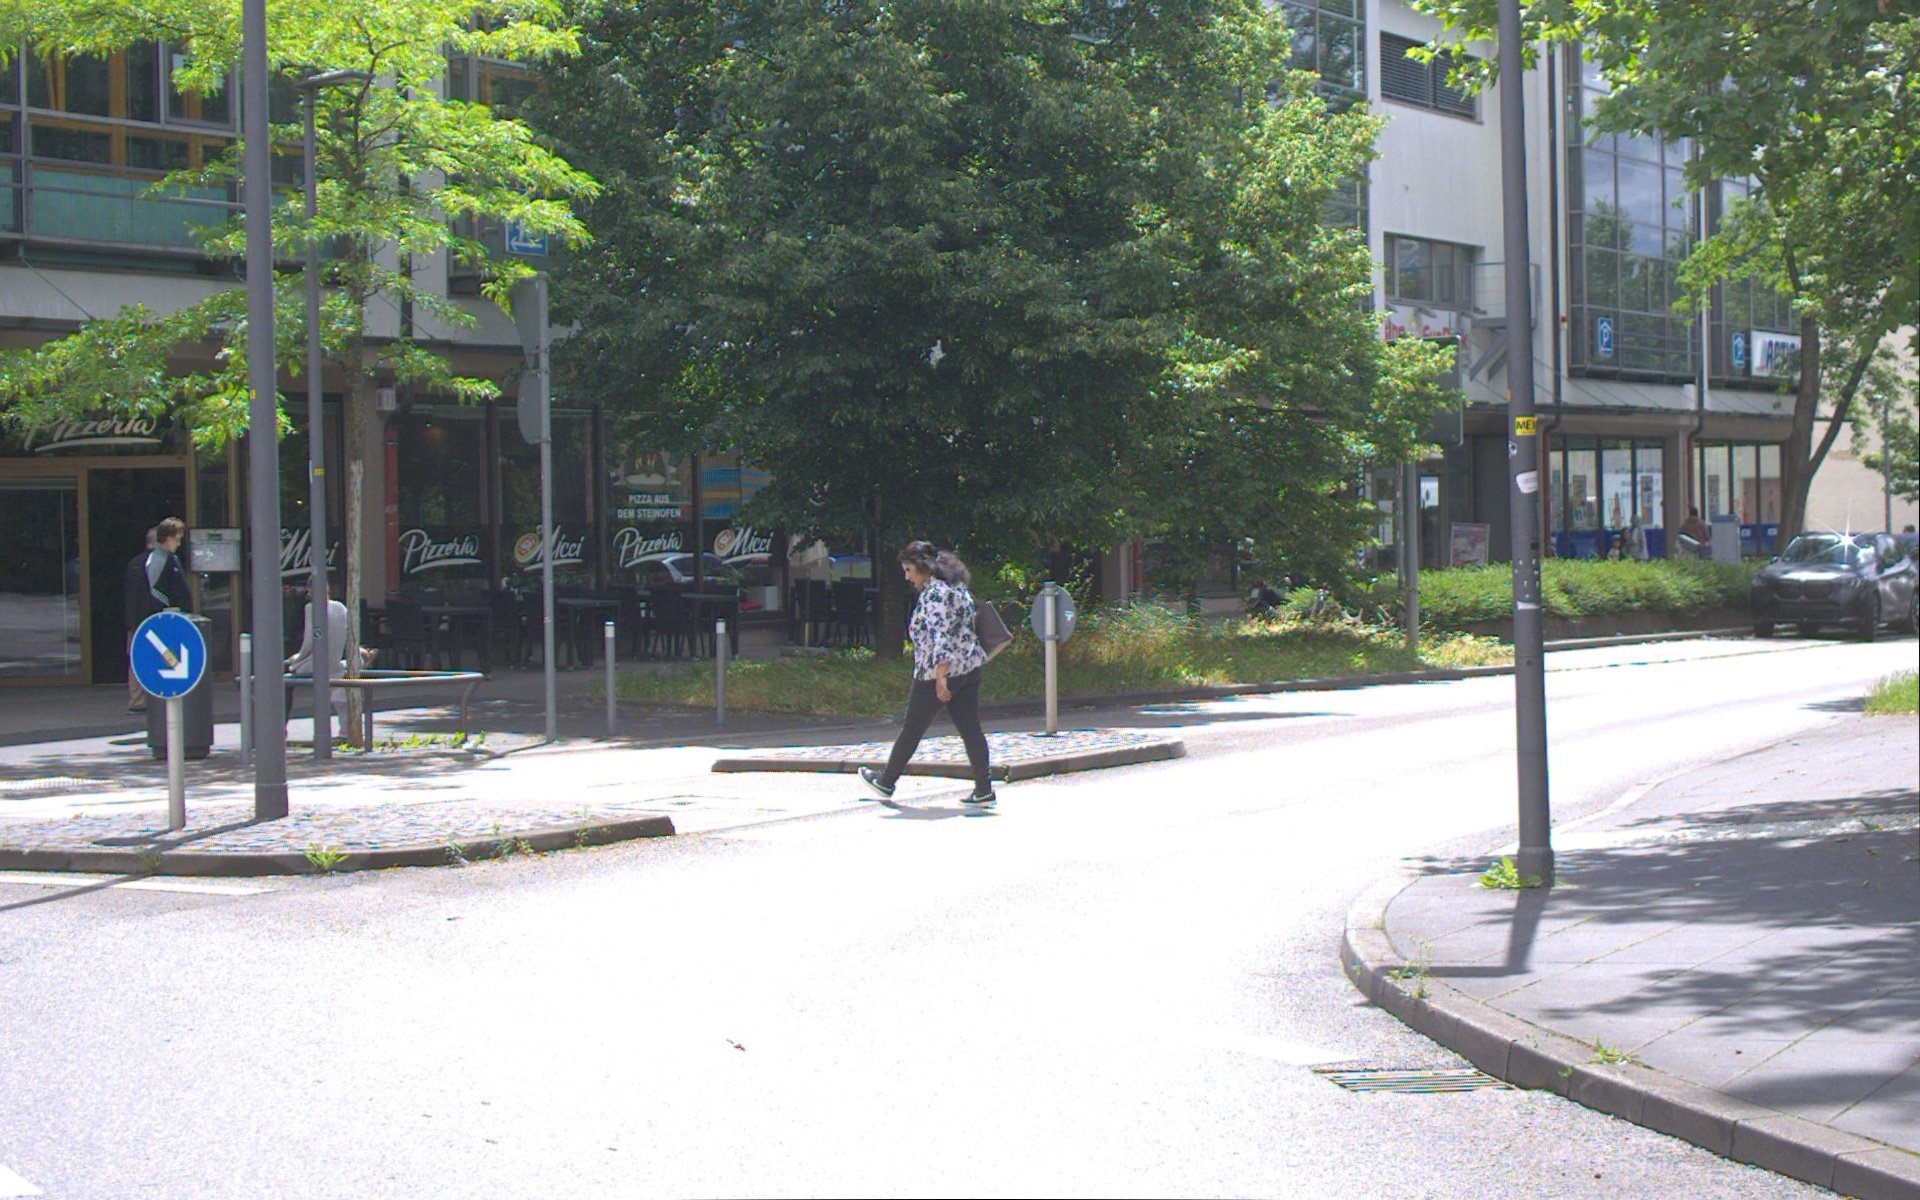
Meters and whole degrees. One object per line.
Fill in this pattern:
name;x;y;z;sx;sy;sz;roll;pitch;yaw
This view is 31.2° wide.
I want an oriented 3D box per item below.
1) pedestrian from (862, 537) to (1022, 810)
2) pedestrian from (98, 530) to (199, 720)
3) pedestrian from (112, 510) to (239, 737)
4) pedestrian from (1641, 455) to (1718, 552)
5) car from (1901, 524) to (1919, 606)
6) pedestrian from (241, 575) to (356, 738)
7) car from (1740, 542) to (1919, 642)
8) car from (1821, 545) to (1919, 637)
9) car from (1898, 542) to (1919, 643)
pedestrian;-0.109;0.411;19.978;0.763;1.548;0.780;0;1;-14
pedestrian;-7.233;0.215;30.656;0.616;1.669;0.697;1;1;16
pedestrian;-6.457;0.181;28.317;0.697;1.812;0.616;1;6;34
pedestrian;15.274;-2.038;72.988;1.346;2.007;1.087;0;0;28
car;19.330;-0.682;64.769;1.997;1.503;4.577;1;1;30
pedestrian;-5.326;0.442;27.688;0.697;1.280;0.616;1;1;41
car;14.010;-0.167;54.792;1.996;1.503;4.578;1;1;27
car;16.370;-0.189;59.189;1.996;1.503;4.578;1;1;27
car;15.855;-0.150;52.594;1.996;1.503;4.578;0;1;27
